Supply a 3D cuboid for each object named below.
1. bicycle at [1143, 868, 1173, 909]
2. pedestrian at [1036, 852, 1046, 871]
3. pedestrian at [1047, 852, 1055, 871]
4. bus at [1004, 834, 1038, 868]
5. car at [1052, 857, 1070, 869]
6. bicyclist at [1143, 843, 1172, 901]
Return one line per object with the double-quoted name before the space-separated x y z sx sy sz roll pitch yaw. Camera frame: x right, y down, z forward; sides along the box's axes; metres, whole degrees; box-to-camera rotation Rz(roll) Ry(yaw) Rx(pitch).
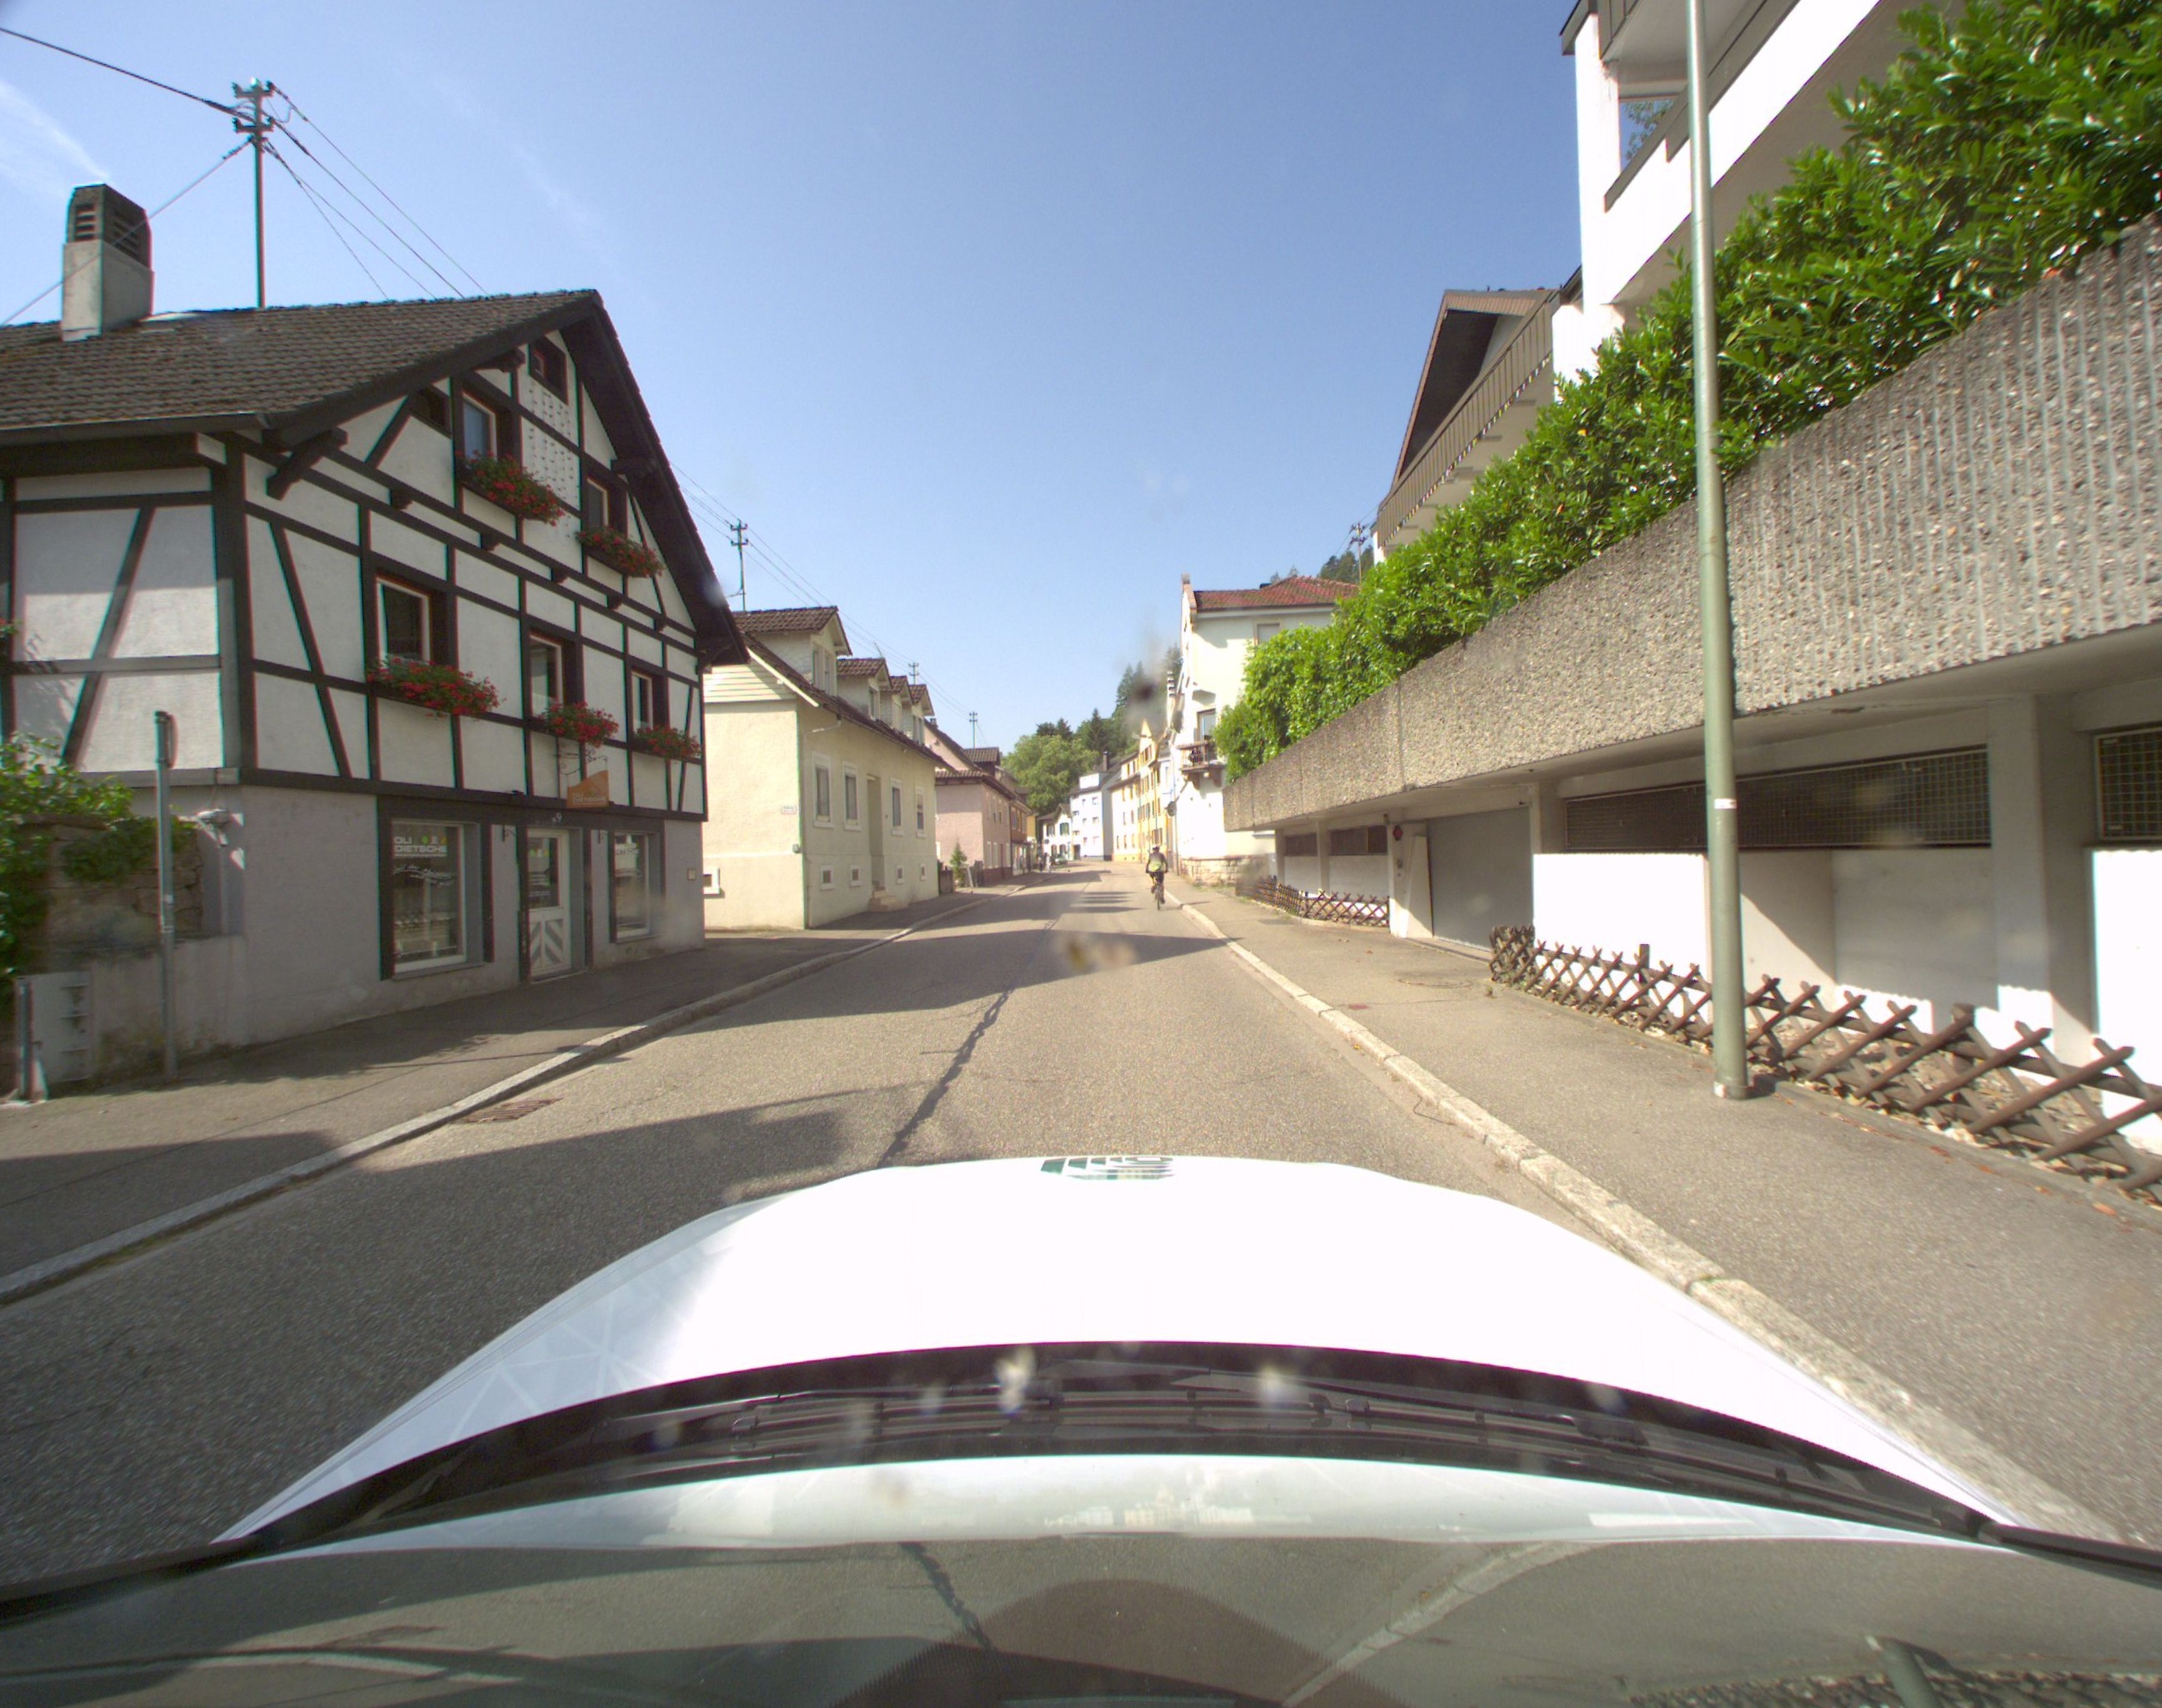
"bicycle" 2.111 0.933 22.414 0.696 1.035 1.471 -1 0 1
"pedestrian" -3.478 0.647 70.657 0.732 1.564 0.825 1 0 3
"pedestrian" -2.602 0.628 70.499 0.637 1.626 0.778 1 0 3
"bus" -6.033 -0.322 82.649 2.811 3.228 9.033 0 0 -1
"car" -2.605 1.183 104.810 1.597 1.464 3.646 -5 0 -11
"bicyclist" 2.092 0.481 22.313 0.683 1.531 0.715 -3 0 1
